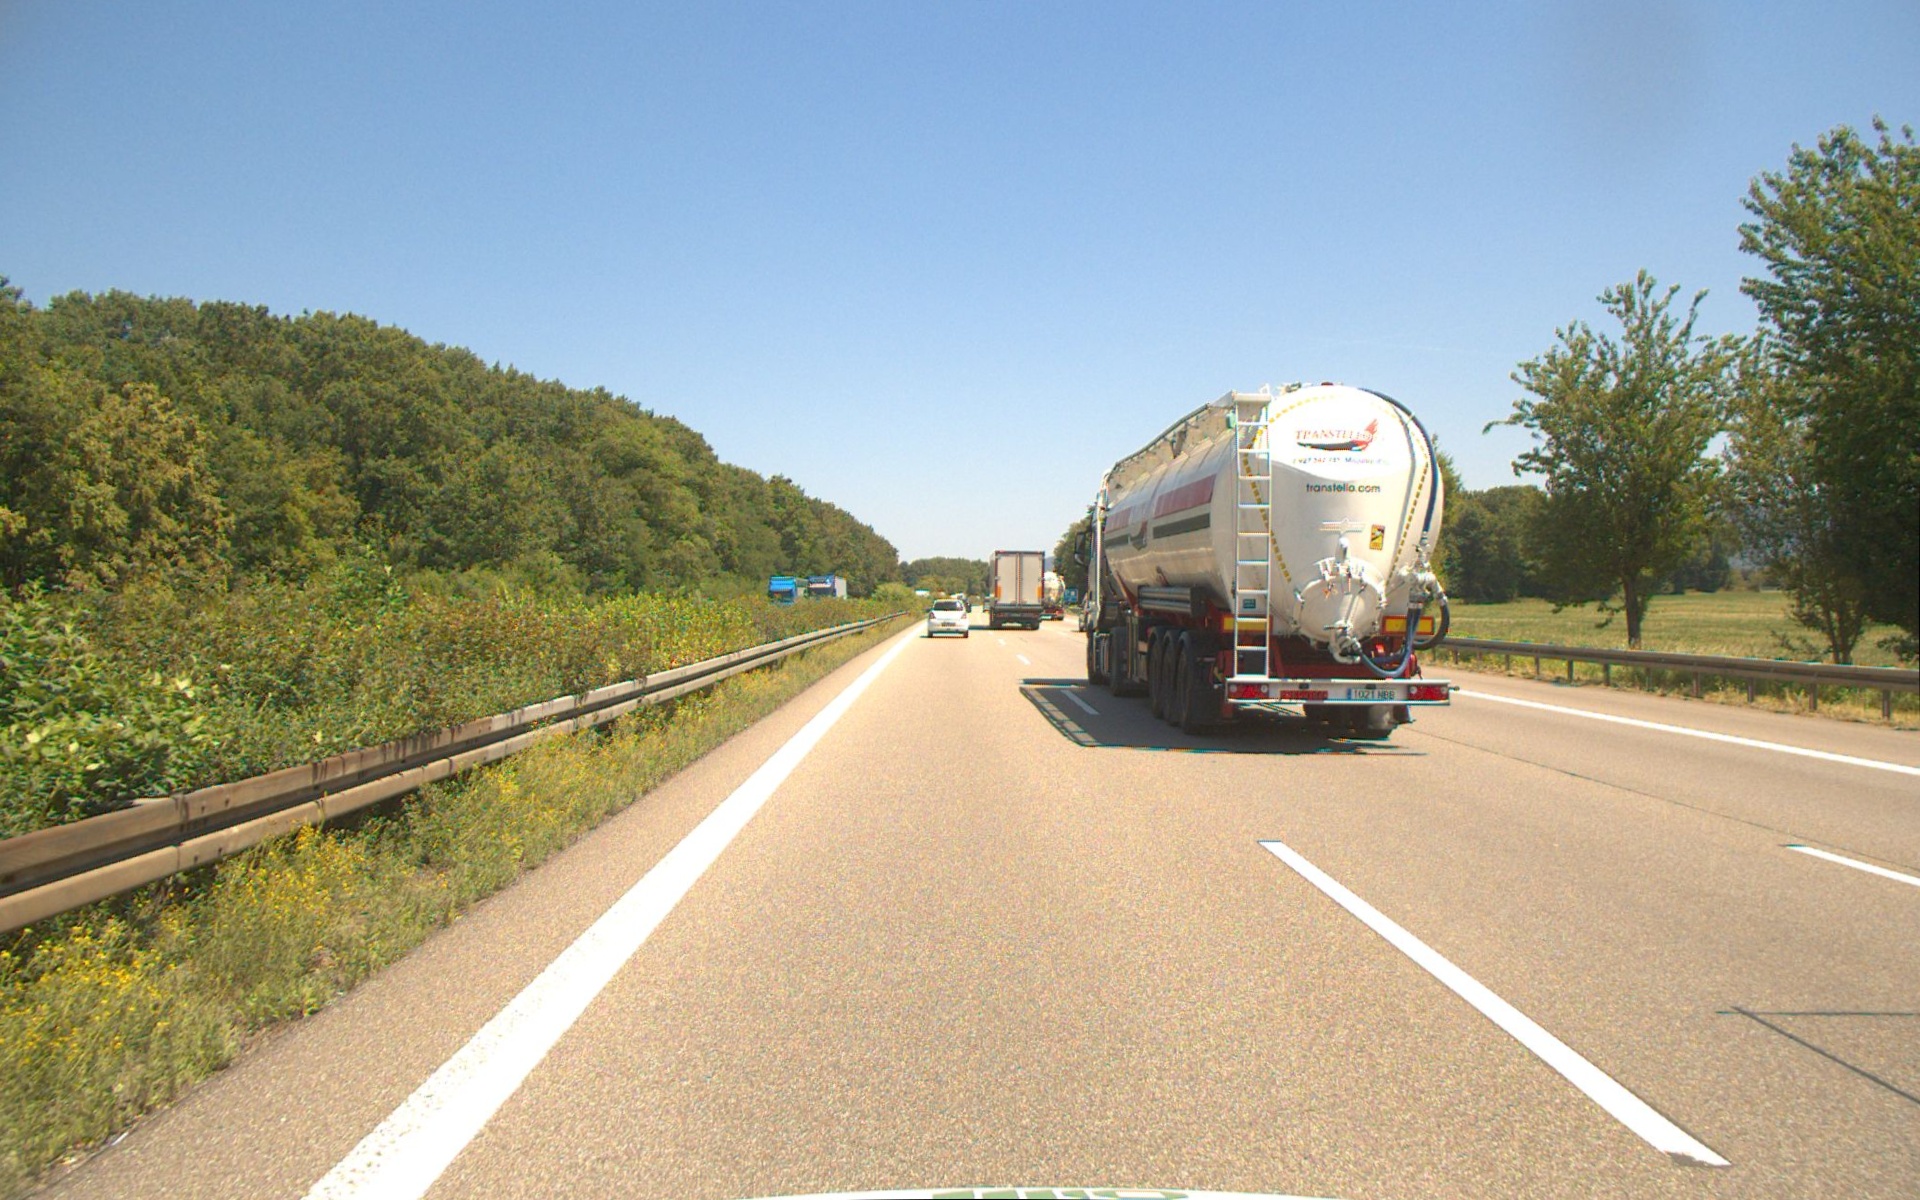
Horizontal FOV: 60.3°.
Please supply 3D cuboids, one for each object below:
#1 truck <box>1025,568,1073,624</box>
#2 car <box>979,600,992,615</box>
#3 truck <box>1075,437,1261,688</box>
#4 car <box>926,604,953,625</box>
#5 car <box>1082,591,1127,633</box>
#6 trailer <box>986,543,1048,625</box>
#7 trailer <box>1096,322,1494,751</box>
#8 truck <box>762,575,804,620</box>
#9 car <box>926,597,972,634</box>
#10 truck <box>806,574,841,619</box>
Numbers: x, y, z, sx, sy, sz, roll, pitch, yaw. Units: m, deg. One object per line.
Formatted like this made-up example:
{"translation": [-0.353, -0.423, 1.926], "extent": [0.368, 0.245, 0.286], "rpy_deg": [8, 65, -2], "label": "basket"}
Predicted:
{"translation": [7.287, -0.310, 136.954], "extent": [3.158, 4.421, 10.804], "rpy_deg": [0, 0, -1], "label": "truck"}
{"translation": [3.153, 0.888, 204.670], "extent": [1.634, 1.796, 4.000], "rpy_deg": [0, 0, 0], "label": "car"}
{"translation": [3.721, -0.641, 30.721], "extent": [2.733, 4.278, 4.999], "rpy_deg": [0, 0, -1], "label": "truck"}
{"translation": [-1.296, 0.911, 106.590], "extent": [1.634, 1.312, 4.000], "rpy_deg": [-1, 0, 0], "label": "car"}
{"translation": [7.389, 0.609, 84.981], "extent": [1.818, 2.038, 5.521], "rpy_deg": [1, 0, 0], "label": "car"}
{"translation": [3.135, -0.828, 90.680], "extent": [3.156, 4.216, 12.354], "rpy_deg": [0, 0, 2], "label": "trailer"}
{"translation": [3.868, -0.647, 22.737], "extent": [2.733, 4.278, 12.350], "rpy_deg": [0, 0, -1], "label": "trailer"}
{"translation": [-17.203, -0.248, 161.402], "extent": [2.952, 4.186, 10.000], "rpy_deg": [0, 0, 0], "label": "truck"}
{"translation": [-0.473, 0.617, 67.391], "extent": [1.775, 1.429, 3.316], "rpy_deg": [0, 0, -2], "label": "car"}
{"translation": [-12.625, -0.293, 153.714], "extent": [2.811, 4.080, 5.000], "rpy_deg": [0, 0, 0], "label": "truck"}
